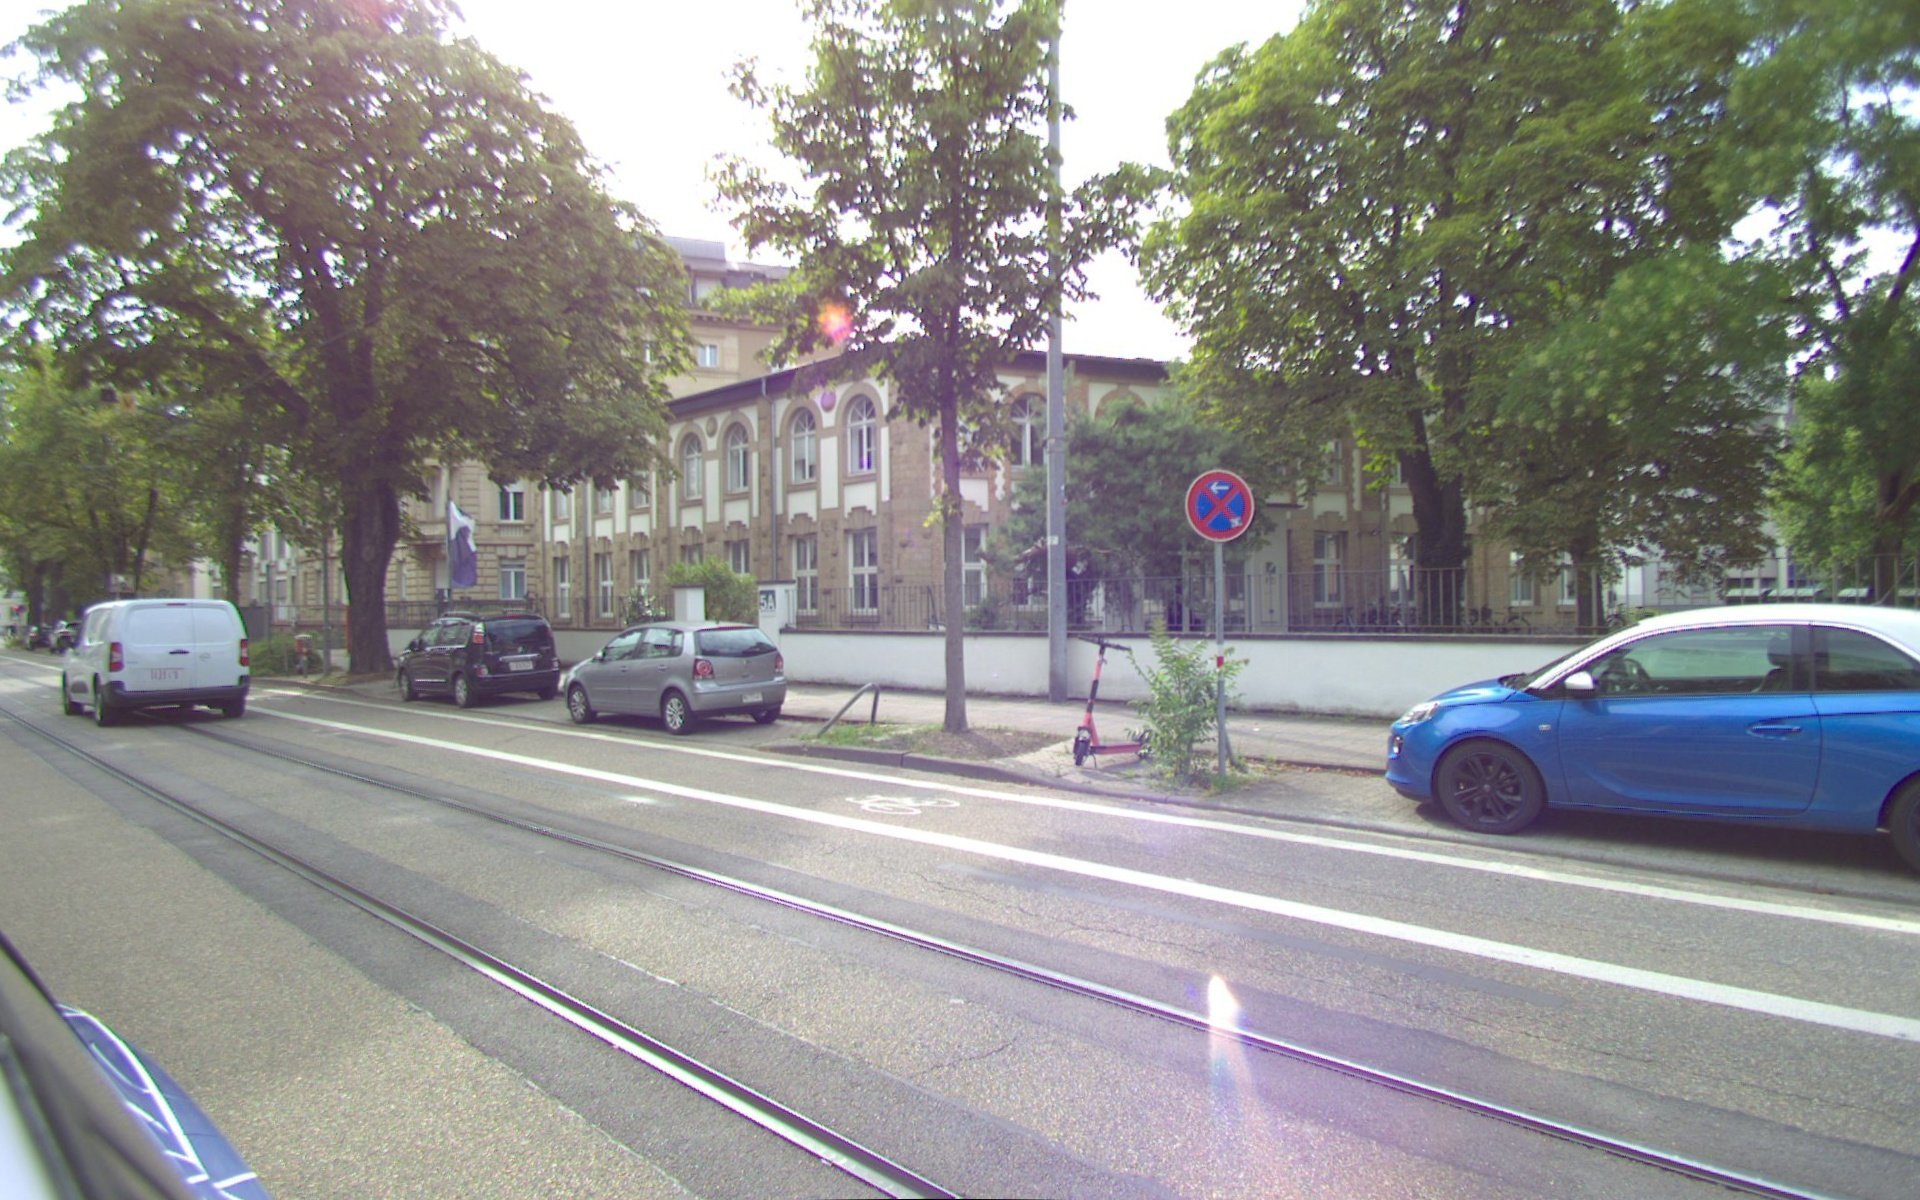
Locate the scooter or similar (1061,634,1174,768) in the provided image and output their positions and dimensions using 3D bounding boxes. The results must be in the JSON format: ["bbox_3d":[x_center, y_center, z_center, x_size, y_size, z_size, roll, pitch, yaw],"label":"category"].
[{"bbox_3d":[1.478,0.923,9.498,0.987,1.176,0.370,-1,-1,-24],"label":"scooter or similar"}]

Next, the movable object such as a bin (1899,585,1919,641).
[{"bbox_3d":[25.387,0.335,26.148,1.103,1.441,1.288,0,0,-21],"label":"movable object such as a bin"}]

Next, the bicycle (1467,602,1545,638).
[{"bbox_3d":[16.691,0.603,30.968,1.978,1.051,0.586,-1,0,44],"label":"bicycle"}]

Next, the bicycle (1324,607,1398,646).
[{"bbox_3d":[11.305,0.730,28.601,0.584,1.051,1.984,-1,0,-30],"label":"bicycle"}]

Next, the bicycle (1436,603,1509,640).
[{"bbox_3d":[15.171,0.621,30.003,0.584,1.051,1.984,-1,0,-23],"label":"bicycle"}]

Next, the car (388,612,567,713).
[{"bbox_3d":[-8.921,1.075,18.599,3.723,1.646,1.637,-2,-1,41],"label":"car"}]

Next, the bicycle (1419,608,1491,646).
[{"bbox_3d":[14.478,0.777,29.663,0.584,1.051,1.984,-1,0,-23],"label":"bicycle"}]

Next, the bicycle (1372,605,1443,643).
[{"bbox_3d":[12.878,0.685,29.172,0.584,1.051,1.984,-1,0,-23],"label":"bicycle"}]

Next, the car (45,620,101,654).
[{"bbox_3d":[-45.423,1.892,51.808,3.904,1.646,1.637,-2,-1,41],"label":"car"}]

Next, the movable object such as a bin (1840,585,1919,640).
[{"bbox_3d":[25.009,0.339,27.468,1.103,1.441,1.288,0,0,-21],"label":"movable object such as a bin"}]

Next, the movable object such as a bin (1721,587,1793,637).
[{"bbox_3d":[23.786,0.355,30.224,1.103,1.441,1.288,0,0,-21],"label":"movable object such as a bin"}]

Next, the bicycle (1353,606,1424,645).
[{"bbox_3d":[12.182,0.710,28.838,0.584,1.051,1.984,-1,0,-23],"label":"bicycle"}]

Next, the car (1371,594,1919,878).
[{"bbox_3d":[4.780,0.726,6.532,3.600,1.476,1.611,-2,-1,41],"label":"car"}]

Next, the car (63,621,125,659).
[{"bbox_3d":[-40.073,1.823,46.815,3.904,1.646,1.637,-2,-1,41],"label":"car"}]

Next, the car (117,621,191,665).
[{"bbox_3d":[-31.956,1.676,40.101,3.904,1.613,1.637,-2,-1,41],"label":"car"}]

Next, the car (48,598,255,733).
[{"bbox_3d":[-12.948,0.946,16.092,4.676,1.837,1.776,-2,-1,41],"label":"car"}]

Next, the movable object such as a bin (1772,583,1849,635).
[{"bbox_3d":[24.298,0.258,28.929,1.103,1.441,1.288,0,0,-21],"label":"movable object such as a bin"}]

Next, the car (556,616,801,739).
[{"bbox_3d":[-4.017,0.991,14.200,3.572,1.476,1.611,-2,-1,41],"label":"car"}]

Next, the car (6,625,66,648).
[{"bbox_3d":[-84.254,3.305,92.340,3.937,2.029,2.003,-1,-1,-41],"label":"car"}]

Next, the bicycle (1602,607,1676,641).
[{"bbox_3d":[21.840,0.770,32.596,0.584,1.051,1.984,-1,0,-23],"label":"bicycle"}]

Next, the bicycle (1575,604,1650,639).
[{"bbox_3d":[20.620,0.661,32.044,0.584,1.051,1.984,-1,0,-23],"label":"bicycle"}]
